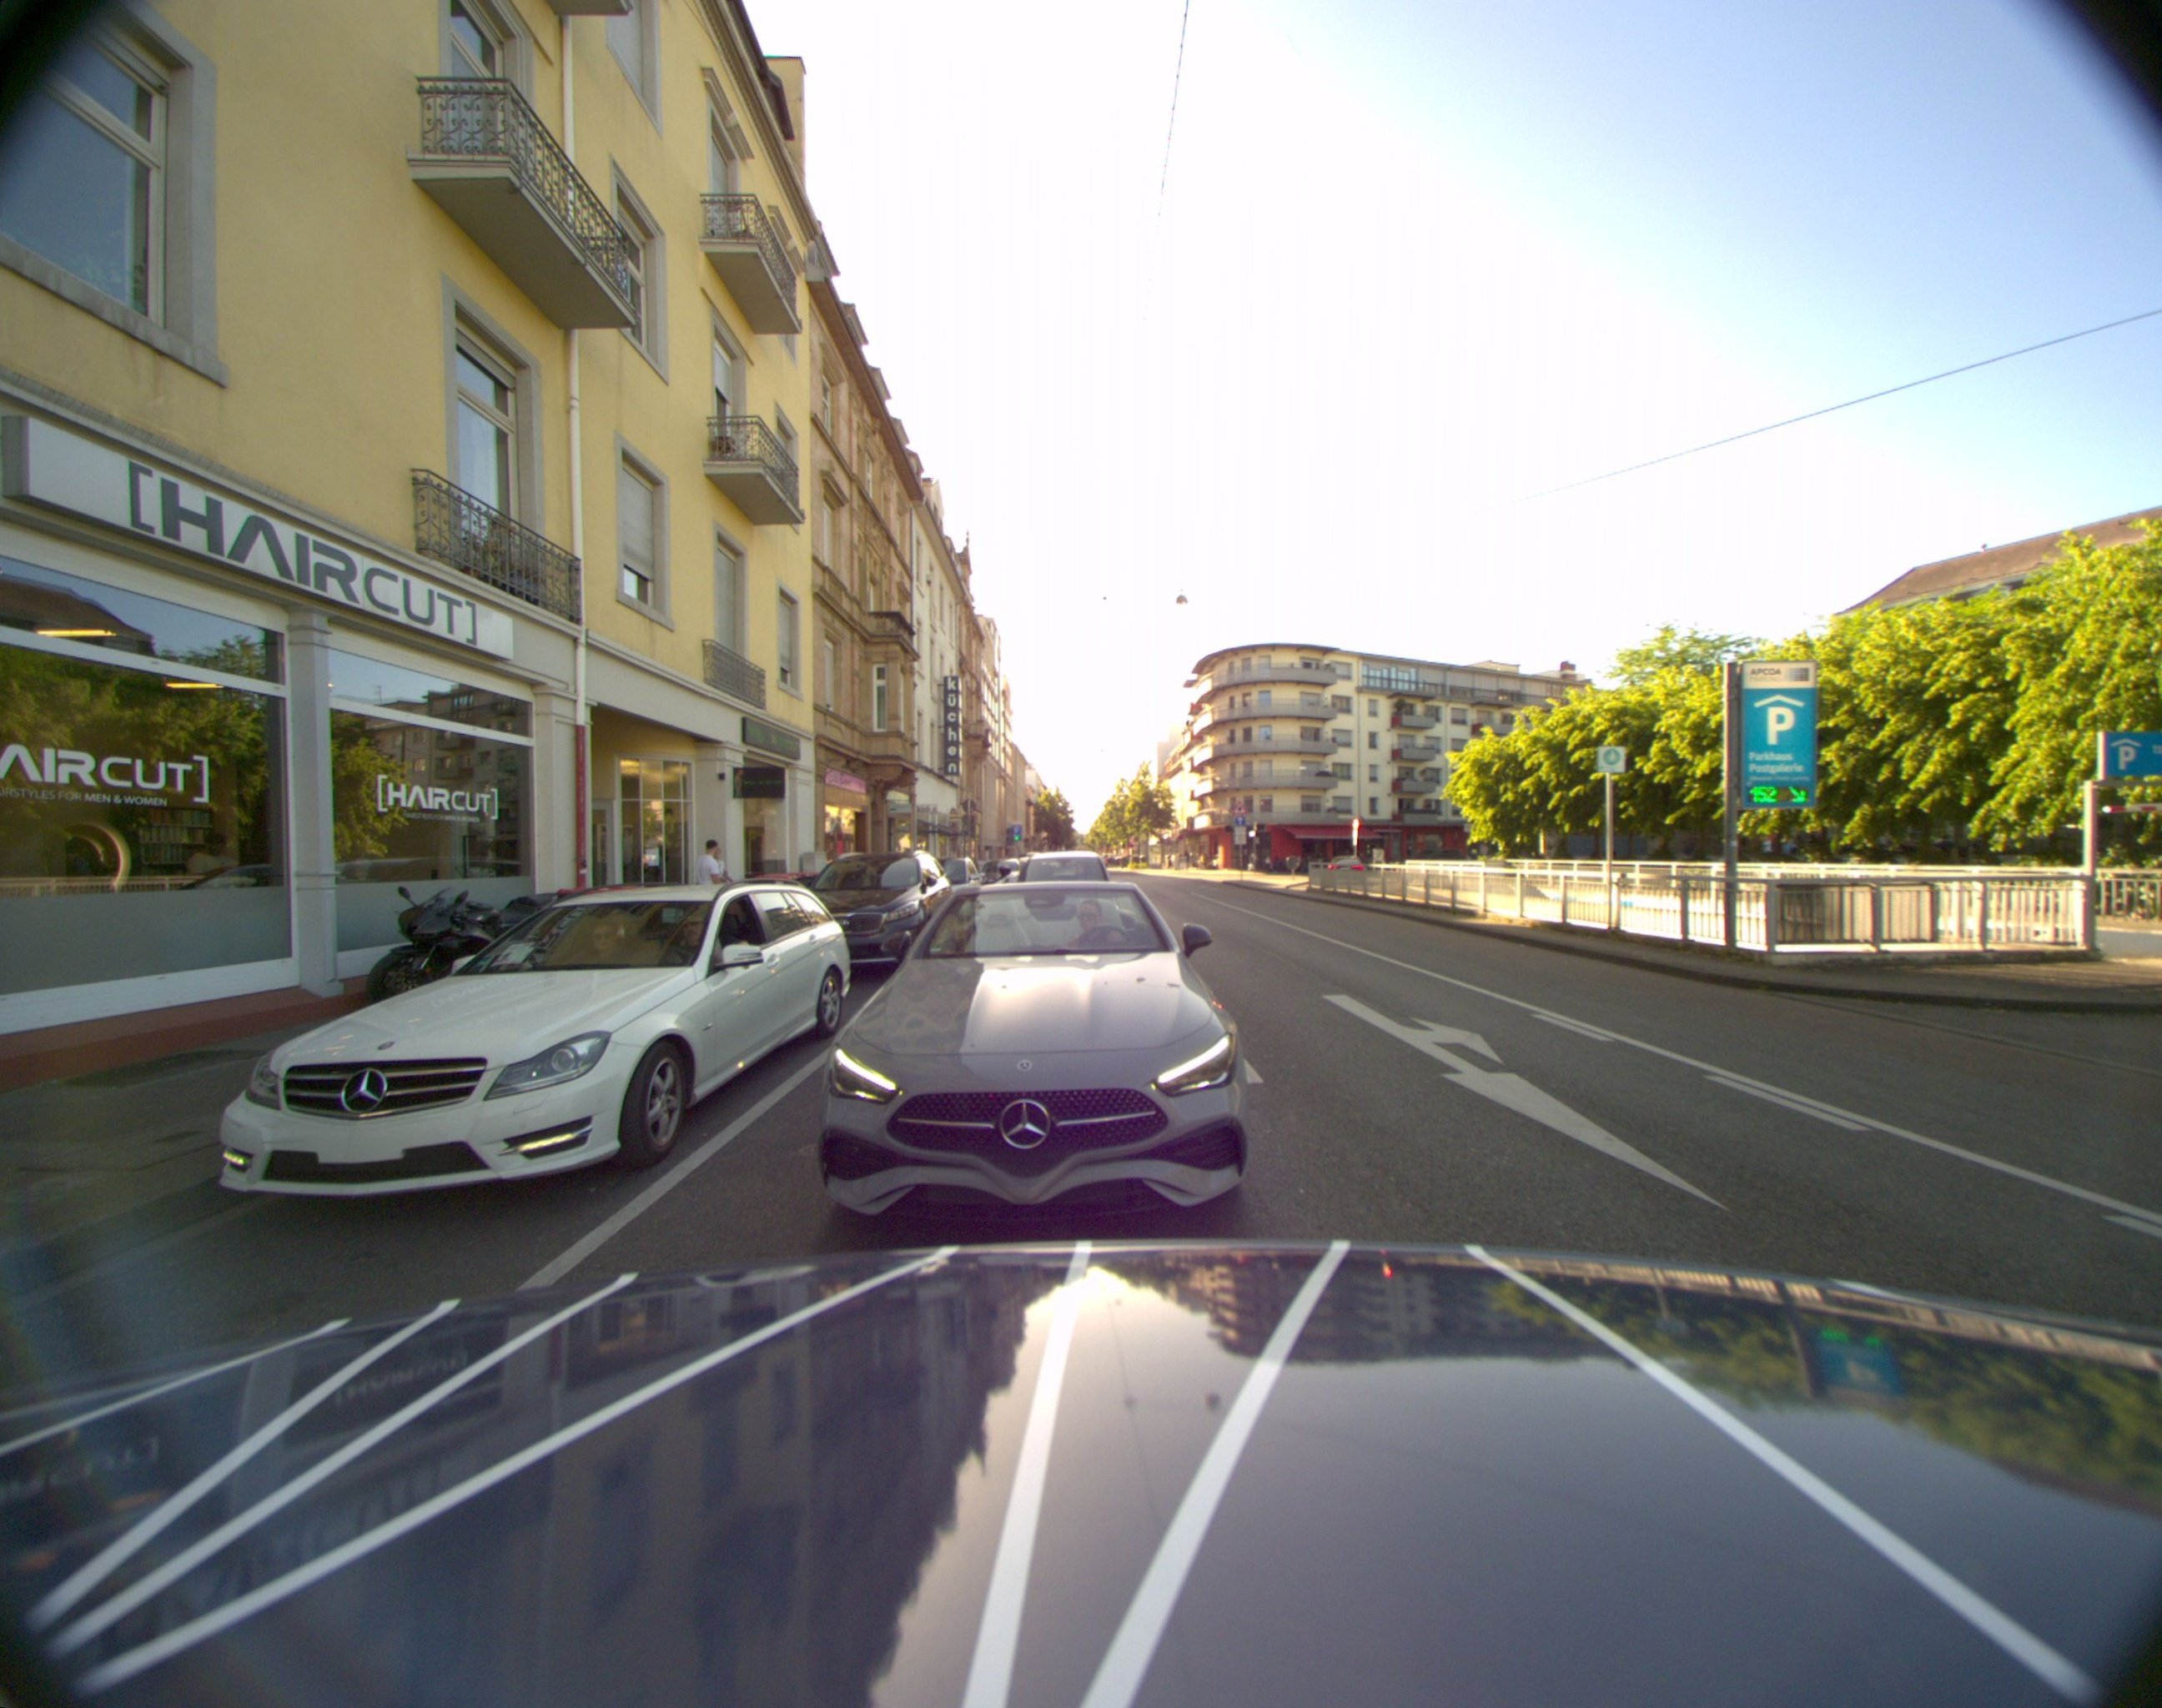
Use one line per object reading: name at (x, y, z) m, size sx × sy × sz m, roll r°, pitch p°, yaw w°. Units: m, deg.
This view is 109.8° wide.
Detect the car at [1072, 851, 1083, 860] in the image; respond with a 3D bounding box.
car at (-0.586, 0.273, 126.783) m, size 1.695 × 1.437 × 3.575 m, roll -2°, pitch 1°, yaw -2°

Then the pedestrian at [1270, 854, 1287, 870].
pedestrian at (15.423, 0.655, 59.390) m, size 0.937 × 1.191 × 0.832 m, roll -3°, pitch 1°, yaw -24°

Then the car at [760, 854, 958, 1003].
car at (-3.015, 0.893, 11.347) m, size 1.806 × 1.680 × 4.408 m, roll -2°, pitch 1°, yaw -3°

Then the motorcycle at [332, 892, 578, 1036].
motorcycle at (-6.257, 1.027, 7.797) m, size 0.735 × 1.124 × 2.109 m, roll 2°, pitch 1°, yaw 1°

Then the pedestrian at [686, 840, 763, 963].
pedestrian at (-5.695, 0.734, 12.145) m, size 0.975 × 1.866 × 0.534 m, roll -3°, pitch 1°, yaw -31°

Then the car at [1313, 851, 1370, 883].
car at (13.437, 0.707, 39.419) m, size 1.675 × 1.521 × 4.252 m, roll -2°, pitch -1°, yaw 3°

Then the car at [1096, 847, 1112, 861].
car at (2.944, -0.032, 98.705) m, size 1.836 × 1.831 × 3.886 m, roll 1°, pitch 1°, yaw -2°

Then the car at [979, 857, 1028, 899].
car at (-3.030, 0.906, 30.321) m, size 1.695 × 1.482 × 3.796 m, roll -2°, pitch 1°, yaw -3°

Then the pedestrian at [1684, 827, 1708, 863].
pedestrian at (31.937, -0.485, 39.471) m, size 0.748 × 1.832 × 0.683 m, roll -3°, pitch 1°, yaw -21°

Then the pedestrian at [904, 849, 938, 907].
pedestrian at (-4.946, 0.729, 23.579) m, size 0.837 × 1.709 × 0.819 m, roll -2°, pitch 1°, yaw -2°

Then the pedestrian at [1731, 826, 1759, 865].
pedestrian at (32.179, -0.391, 36.804) m, size 0.748 × 1.852 × 0.683 m, roll -2°, pitch 1°, yaw -13°

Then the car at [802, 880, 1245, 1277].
car at (-0.283, 1.000, 5.367) m, size 1.769 × 1.360 × 4.471 m, roll -2°, pitch 1°, yaw -2°

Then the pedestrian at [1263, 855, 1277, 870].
pedestrian at (14.916, 0.667, 60.049) m, size 0.780 × 1.191 × 0.884 m, roll -2°, pitch 1°, yaw -10°

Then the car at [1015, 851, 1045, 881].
car at (-3.158, 0.720, 47.556) m, size 1.695 × 1.670 × 3.880 m, roll -2°, pitch 1°, yaw -3°

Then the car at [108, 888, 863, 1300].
car at (-3.028, 1.076, 5.256) m, size 1.672 × 1.364 × 4.377 m, roll -2°, pitch 1°, yaw 1°

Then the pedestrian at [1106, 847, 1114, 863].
pedestrian at (4.400, 0.122, 114.498) m, size 1.117 × 2.328 × 1.029 m, roll -2°, pitch 1°, yaw 1°

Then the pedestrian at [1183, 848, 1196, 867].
pedestrian at (10.151, 0.321, 71.102) m, size 1.060 × 1.739 × 0.962 m, roll -2°, pitch 1°, yaw 1°

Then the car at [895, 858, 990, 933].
car at (-3.184, 0.909, 17.998) m, size 1.583 × 1.514 × 2.998 m, roll -2°, pitch 1°, yaw 1°

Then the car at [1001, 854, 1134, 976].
car at (-0.253, 0.886, 13.378) m, size 1.866 × 1.658 × 4.706 m, roll -2°, pitch 1°, yaw -2°

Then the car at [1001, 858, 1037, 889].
car at (-2.959, 0.904, 36.690) m, size 1.461 × 1.310 × 3.363 m, roll -2°, pitch 1°, yaw -1°

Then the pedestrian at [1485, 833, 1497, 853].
pedestrian at (38.355, -1.000, 71.133) m, size 0.747 × 1.832 × 0.684 m, roll -2°, pitch 1°, yaw 1°

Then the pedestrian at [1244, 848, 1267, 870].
pedestrian at (13.713, 0.408, 59.677) m, size 1.142 × 1.656 × 1.269 m, roll -3°, pitch 1°, yaw -44°

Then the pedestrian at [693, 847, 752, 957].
pedestrian at (-6.151, 0.798, 13.069) m, size 0.630 × 1.826 × 0.770 m, roll -2°, pitch 1°, yaw -7°

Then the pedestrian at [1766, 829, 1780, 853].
pedestrian at (46.201, -0.845, 50.743) m, size 0.494 × 1.570 × 0.493 m, roll -3°, pitch 1°, yaw -24°

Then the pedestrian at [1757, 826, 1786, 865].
pedestrian at (33.373, -0.426, 36.722) m, size 0.748 × 1.832 × 0.683 m, roll -2°, pitch 1°, yaw -13°

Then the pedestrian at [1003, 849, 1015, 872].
pedestrian at (-5.491, 0.482, 57.887) m, size 0.826 × 1.750 × 0.823 m, roll -2°, pitch 1°, yaw -1°

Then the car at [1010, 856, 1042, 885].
car at (-2.947, 0.869, 40.958) m, size 1.461 × 1.391 × 3.363 m, roll -2°, pitch 1°, yaw -1°

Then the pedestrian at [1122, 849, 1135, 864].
pedestrian at (5.944, 0.276, 95.073) m, size 1.222 × 1.826 × 1.202 m, roll -2°, pitch 1°, yaw -9°

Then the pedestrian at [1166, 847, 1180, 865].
pedestrian at (8.928, 0.219, 73.635) m, size 1.069 × 1.709 × 1.080 m, roll -2°, pitch 1°, yaw -2°
